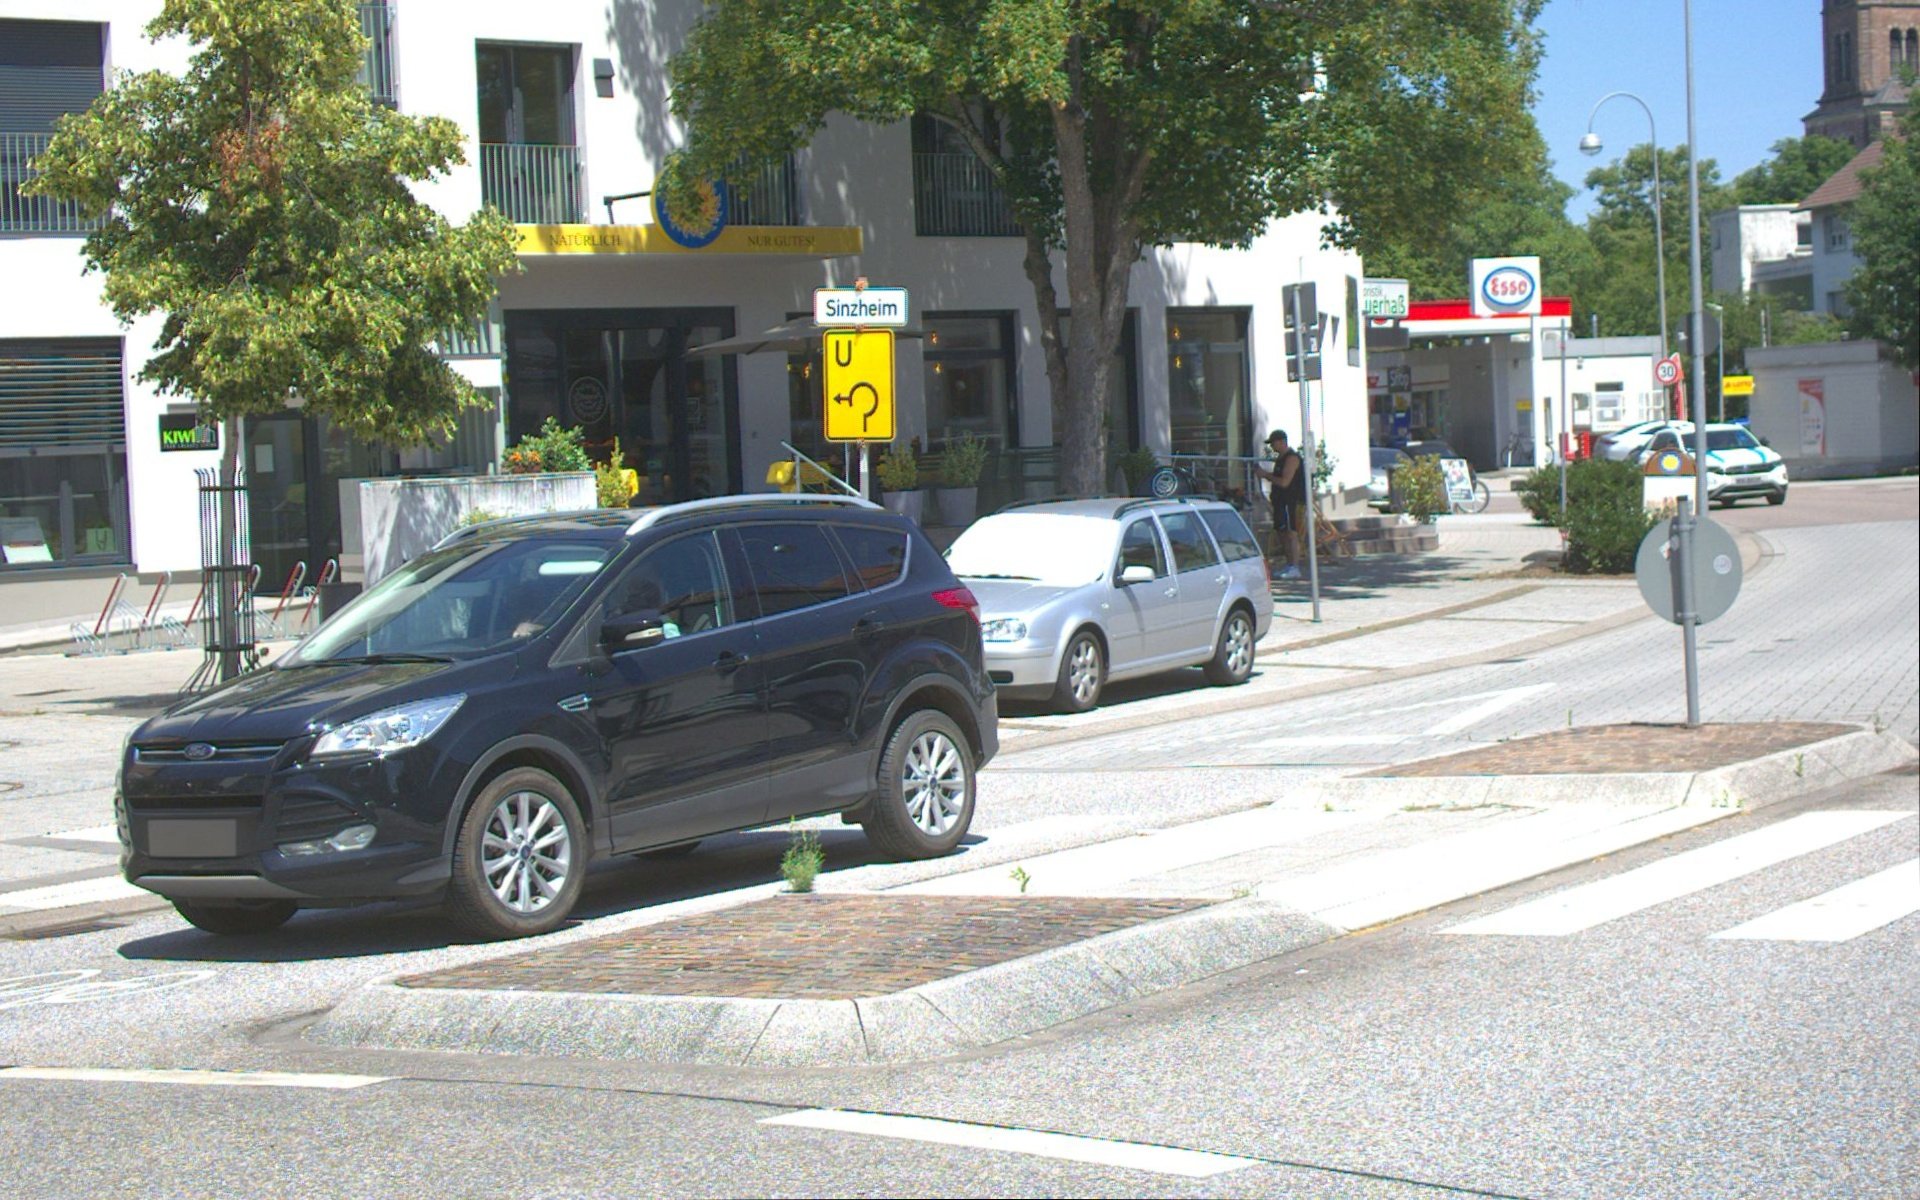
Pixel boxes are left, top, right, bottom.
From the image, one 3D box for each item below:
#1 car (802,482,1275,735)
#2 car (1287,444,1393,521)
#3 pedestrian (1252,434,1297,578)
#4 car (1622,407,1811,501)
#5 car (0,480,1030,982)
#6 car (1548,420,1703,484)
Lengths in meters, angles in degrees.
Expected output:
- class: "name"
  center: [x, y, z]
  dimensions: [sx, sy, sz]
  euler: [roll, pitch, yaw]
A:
- class: "car"
  center: [0.678, -0.017, 25.759]
  dimensions: [1.799, 1.584, 3.994]
  euler: [1, 4, 31]
- class: "car"
  center: [8.369, -2.610, 76.075]
  dimensions: [1.831, 1.568, 4.001]
  euler: [-3, 2, 0]
- class: "pedestrian"
  center: [3.629, -1.087, 39.626]
  dimensions: [0.405, 1.622, 0.651]
  euler: [-1, 5, 12]
- class: "car"
  center: [13.956, -2.696, 63.659]
  dimensions: [1.831, 1.568, 4.002]
  euler: [-4, 3, -12]
- class: "car"
  center: [-1.822, 0.440, 14.884]
  dimensions: [1.997, 1.682, 4.518]
  euler: [-2, 2, 35]
- class: "car"
  center: [19.594, -4.377, 101.195]
  dimensions: [3.986, 1.645, 2.001]
  euler: [-4, 5, -19]
